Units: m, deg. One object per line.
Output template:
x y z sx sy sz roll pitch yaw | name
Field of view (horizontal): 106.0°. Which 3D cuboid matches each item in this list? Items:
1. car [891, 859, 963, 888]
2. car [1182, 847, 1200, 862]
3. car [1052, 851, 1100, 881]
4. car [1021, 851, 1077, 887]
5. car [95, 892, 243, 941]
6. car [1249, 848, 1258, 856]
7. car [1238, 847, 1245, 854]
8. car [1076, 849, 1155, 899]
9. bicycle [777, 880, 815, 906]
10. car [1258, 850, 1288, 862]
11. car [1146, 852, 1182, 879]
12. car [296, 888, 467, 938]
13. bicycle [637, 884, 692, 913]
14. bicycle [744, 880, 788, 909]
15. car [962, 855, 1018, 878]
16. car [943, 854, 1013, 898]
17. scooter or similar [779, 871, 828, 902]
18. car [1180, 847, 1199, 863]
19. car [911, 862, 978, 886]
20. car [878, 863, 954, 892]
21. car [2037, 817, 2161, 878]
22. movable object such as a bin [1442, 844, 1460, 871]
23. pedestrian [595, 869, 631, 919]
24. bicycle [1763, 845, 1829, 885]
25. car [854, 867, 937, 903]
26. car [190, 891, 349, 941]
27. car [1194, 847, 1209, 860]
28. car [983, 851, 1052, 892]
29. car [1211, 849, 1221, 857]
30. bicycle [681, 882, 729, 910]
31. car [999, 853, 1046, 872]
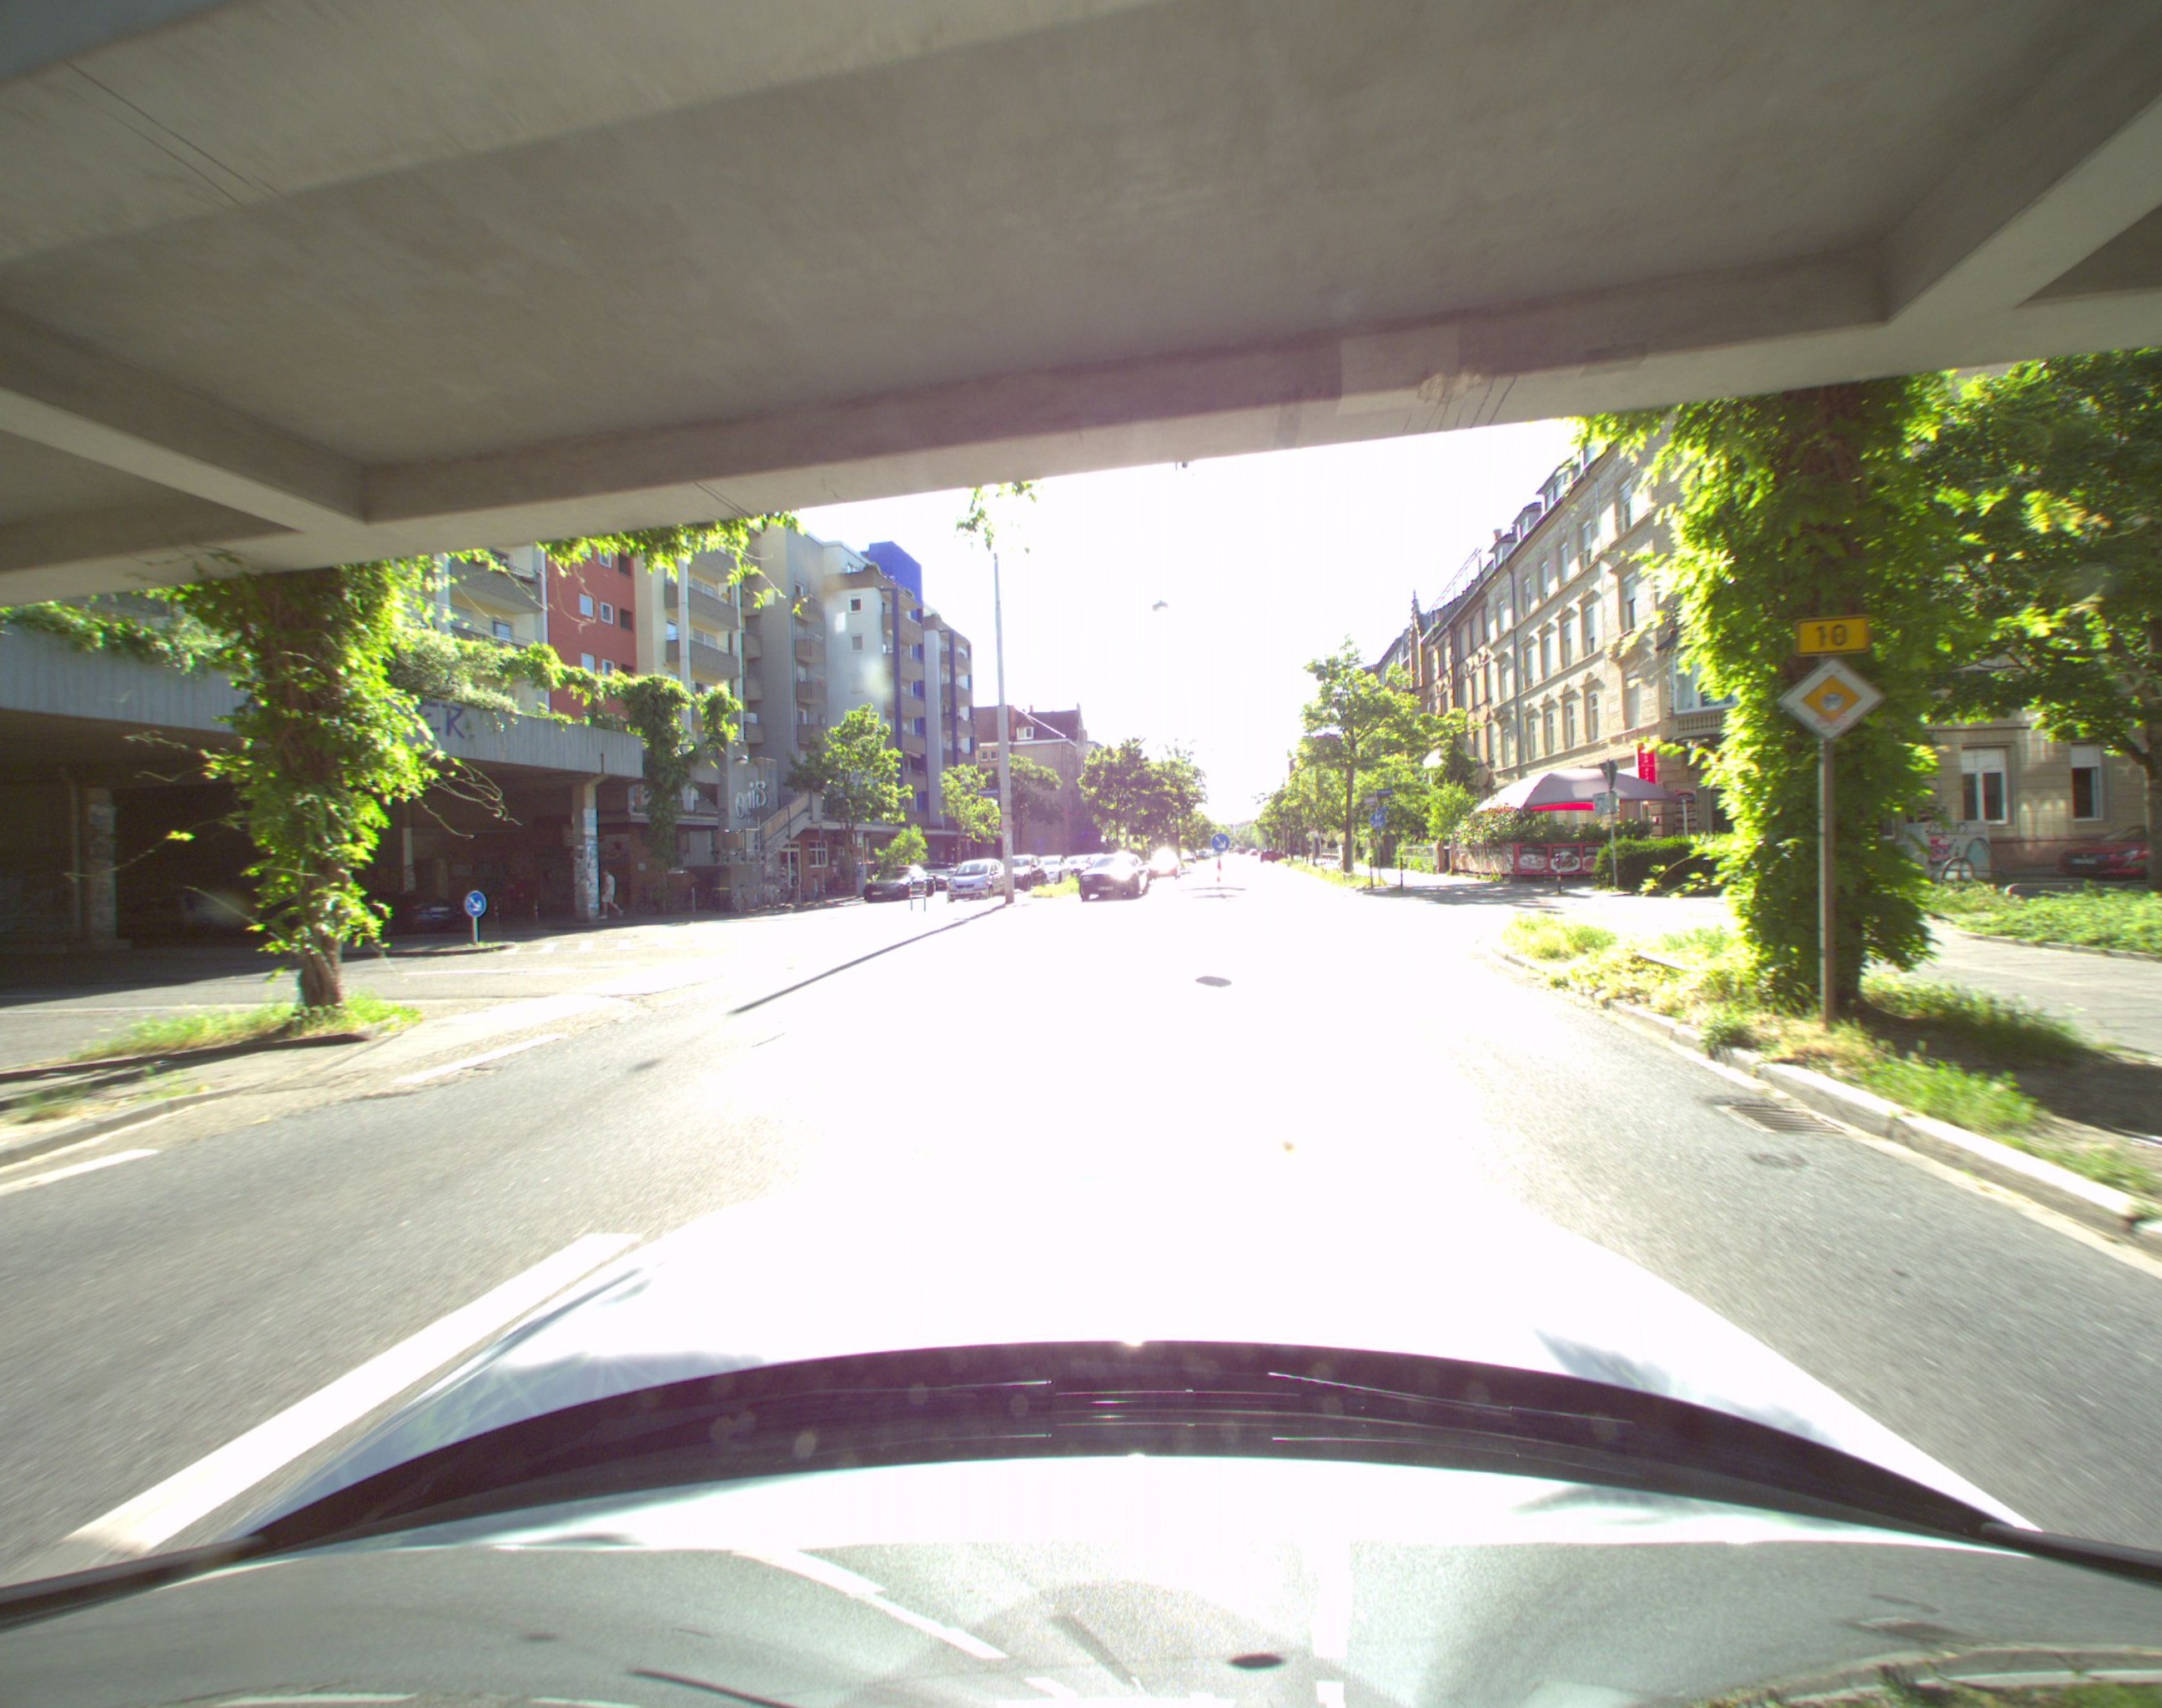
-9.559 1.198 50.692 3.965 1.607 1.846 -2 0 7 | car
15.541 0.034 115.308 1.979 2.013 4.221 -3 0 13 | car
-0.255 0.698 49.476 1.850 1.587 4.015 -4 0 14 | car
-1.648 0.765 43.514 1.876 1.662 4.544 -4 0 11 | car
-32.015 2.179 28.640 3.607 1.487 1.612 -3 0 6 | car
40.613 -0.478 191.262 1.938 1.708 4.014 -3 0 12 | car
43.553 -0.871 220.783 1.746 1.783 4.014 -3 0 12 | car
1.264 0.619 27.706 1.853 1.458 4.608 -3 0 12 | car
-11.968 1.625 34.262 0.410 1.001 1.811 1 1 21 | bicycle
22.049 0.270 93.453 1.780 1.223 4.025 -2 0 40 | car
4.751 0.626 46.170 1.640 1.428 3.518 -3 0 11 | car
-22.803 1.910 26.594 4.560 1.433 1.864 -3 -2 13 | car
-15.810 1.696 30.930 1.788 1.001 0.485 -2 1 3 | bicycle
-12.477 1.607 32.295 0.410 1.031 1.813 1 1 28 | bicycle
-7.089 0.955 63.463 3.965 1.629 1.691 -2 0 7 | car
-3.985 0.835 32.076 1.709 1.518 3.541 -3 0 9 | car
-12.577 1.482 36.951 1.956 1.277 0.632 -2 0 6 | scooter or similar
14.594 0.058 109.580 1.979 2.013 4.221 -3 0 14 | car
-8.894 1.295 53.195 3.965 1.424 1.691 -2 0 7 | car
-9.673 1.378 47.940 3.965 1.551 1.774 -2 0 7 | car
27.383 -0.200 20.722 3.973 1.440 1.780 -1 3 0 | car
16.228 0.147 35.705 0.564 1.133 0.553 -2 0 12 | movable object such as a bin
-16.664 1.411 28.986 0.750 1.699 0.799 0 0 10 | pedestrian
18.395 0.271 20.954 1.304 0.974 0.393 -2 0 0 | bicycle
-8.518 1.390 37.852 1.877 1.398 4.546 -3 0 14 | car
-27.470 2.084 27.605 4.024 1.410 1.772 -3 0 10 | car
20.177 -0.052 136.297 2.046 2.013 4.646 -3 0 13 | car
-2.804 0.758 37.097 1.855 1.627 4.520 -3 0 12 | car
30.528 -0.340 184.251 1.979 1.695 4.015 -3 0 14 | car
-14.626 1.634 31.671 1.613 1.001 0.414 -1 1 -12 | bicycle
-5.385 0.777 75.508 3.965 1.629 1.691 -2 0 7 | car
